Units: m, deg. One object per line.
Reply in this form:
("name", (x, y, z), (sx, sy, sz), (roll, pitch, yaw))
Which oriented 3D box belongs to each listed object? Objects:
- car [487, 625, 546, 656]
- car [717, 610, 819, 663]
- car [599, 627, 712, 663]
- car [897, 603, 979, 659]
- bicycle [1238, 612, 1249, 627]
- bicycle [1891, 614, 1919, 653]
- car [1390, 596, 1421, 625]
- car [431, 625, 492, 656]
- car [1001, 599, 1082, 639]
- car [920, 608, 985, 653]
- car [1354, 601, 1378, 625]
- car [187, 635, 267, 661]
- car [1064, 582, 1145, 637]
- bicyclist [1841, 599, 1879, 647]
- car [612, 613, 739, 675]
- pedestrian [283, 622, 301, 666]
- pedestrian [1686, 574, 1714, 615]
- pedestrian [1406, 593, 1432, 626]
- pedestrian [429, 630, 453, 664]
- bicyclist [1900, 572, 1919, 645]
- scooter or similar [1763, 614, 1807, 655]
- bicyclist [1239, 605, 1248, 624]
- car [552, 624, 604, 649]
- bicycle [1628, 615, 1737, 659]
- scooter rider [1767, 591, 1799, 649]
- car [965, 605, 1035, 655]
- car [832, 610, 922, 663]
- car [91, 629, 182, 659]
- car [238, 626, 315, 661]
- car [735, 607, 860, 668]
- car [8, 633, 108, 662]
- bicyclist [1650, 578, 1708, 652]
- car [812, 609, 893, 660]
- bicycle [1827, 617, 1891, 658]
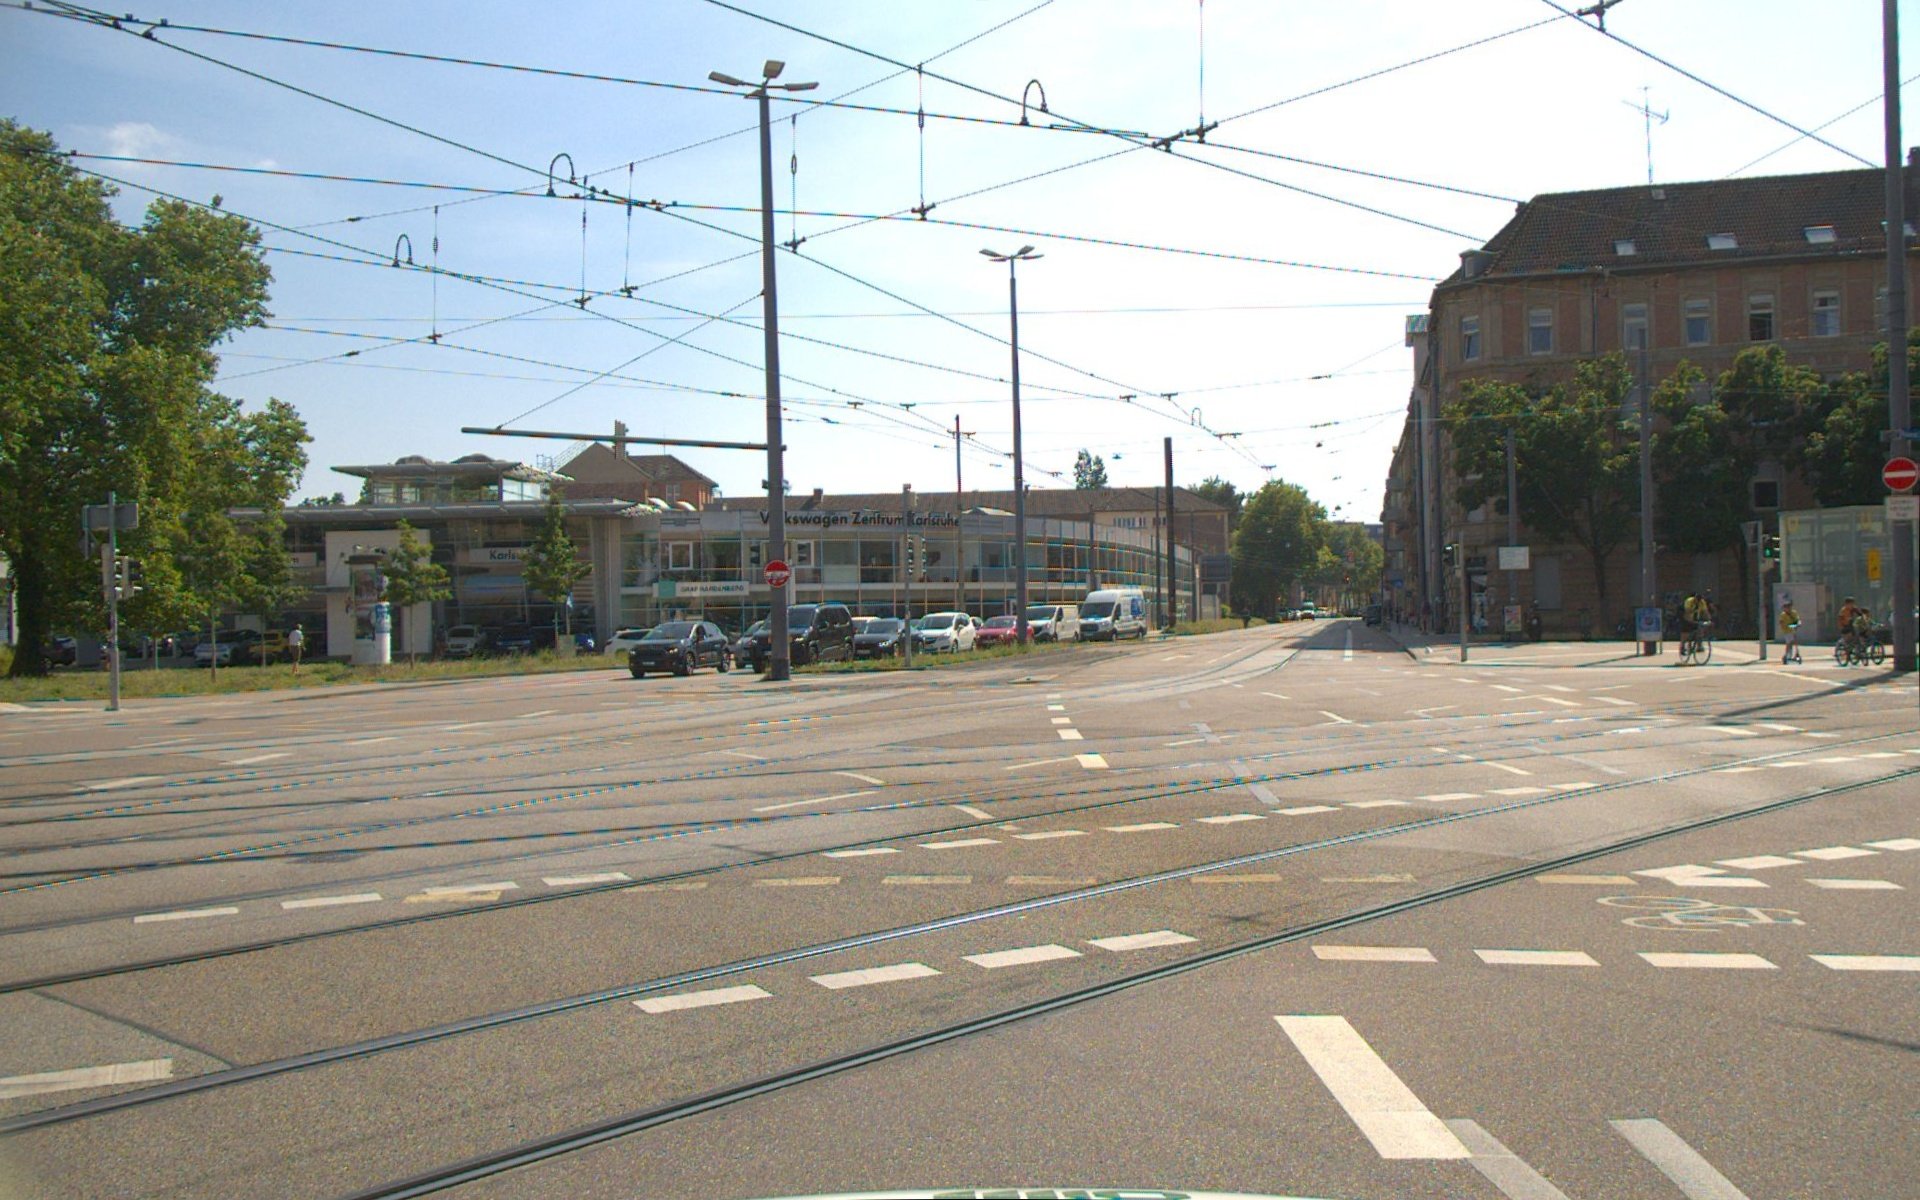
("car", (-22.105, 2.019, 82.586), (1.953, 1.512, 3.998), (1, -1, -2))
("car", (-6.135, 1.199, 53.357), (1.854, 1.616, 4.002), (-2, -2, 16))
("car", (-12.873, 1.896, 69.914), (4.486, 1.461, 1.445), (0, -1, 13))
("car", (-0.769, 1.175, 61.111), (1.854, 1.950, 4.203), (-2, -2, 16))
("bicycle", (24.440, 1.659, 142.485), (0.736, 1.215, 2.841), (0, -1, 13))
("bicycle", (21.936, 0.762, 37.822), (0.489, 0.881, 1.588), (1, 0, 4))
("car", (32.618, 0.807, 121.167), (1.951, 2.049, 4.003), (0, -1, 11))
("car", (-24.833, 2.013, 82.558), (1.953, 1.512, 3.998), (1, -1, -2))
("car", (3.745, 0.857, 75.199), (2.140, 1.710, 5.029), (-2, -1, 21))
("car", (-0.290, 1.374, 72.581), (1.768, 1.878, 4.203), (-2, -2, 16))
("car", (36.618, 1.172, 149.087), (2.063, 2.049, 4.003), (0, -1, 13))
("car", (-36.627, 2.377, 82.752), (1.951, 1.266, 4.002), (1, -1, 4))
("car", (7.243, 0.521, 82.338), (2.164, 2.621, 5.870), (0, -2, 25))
("bicyclist", (19.996, 0.509, 36.762), (0.490, 1.047, 0.605), (1, -1, -3))
("car", (-7.935, 1.241, 46.506), (1.851, 1.616, 4.212), (-2, -2, 16))
("pedestrian", (-24.777, 1.636, 61.329), (0.384, 1.624, 0.464), (0, -2, 22))
("pedestrian", (26.198, -0.189, 58.547), (0.608, 1.458, 0.703), (2, -2, -39))
("pedestrian", (20.880, 0.448, 75.259), (0.707, 1.458, 0.872), (-1, -1, -45))
("pedestrian", (-24.604, 2.227, 78.409), (0.934, 1.608, 0.534), (1, -2, -4))
("bicyclist", (21.946, 0.199, 37.890), (0.489, 1.649, 0.650), (1, -1, 4))
("scooter or similar", (20.320, 0.854, 40.753), (0.575, 0.993, 0.991), (1, -1, -1))
("bicyclist", (24.459, 1.251, 142.545), (0.736, 1.595, 1.088), (0, -2, 13))
("car", (-18.973, 1.811, 82.265), (1.793, 1.216, 3.998), (1, -1, -2))
("bicycle", (18.453, 0.946, 42.321), (0.913, 1.088, 2.728), (1, -1, -22))
("scooter rider", (20.322, 0.503, 40.832), (0.575, 1.422, 0.406), (1, -2, -1))
("car", (1.693, 1.267, 68.058), (1.854, 1.950, 4.203), (-2, -2, 16))
("car", (-2.643, 1.210, 53.778), (1.854, 1.616, 4.003), (-2, -2, 13))
("car", (-44.425, 2.359, 89.258), (3.907, 1.534, 1.999), (-1, -1, -3))
("car", (-34.321, 2.192, 83.199), (1.951, 1.713, 4.001), (1, -1, 4))
("car", (-4.557, 1.026, 47.193), (1.919, 1.615, 4.719), (-2, -1, 16))
("car", (-45.513, 2.381, 83.518), (3.906, 1.395, 1.999), (1, -1, -2))
("bicyclist", (18.449, 0.400, 42.459), (0.913, 1.852, 1.045), (1, -2, -22))
("car", (-3.898, 1.276, 60.724), (1.616, 1.769, 4.203), (-2, -2, 16))
("bicycle", (19.989, 0.815, 36.794), (0.490, 0.881, 1.586), (1, 0, -3))
